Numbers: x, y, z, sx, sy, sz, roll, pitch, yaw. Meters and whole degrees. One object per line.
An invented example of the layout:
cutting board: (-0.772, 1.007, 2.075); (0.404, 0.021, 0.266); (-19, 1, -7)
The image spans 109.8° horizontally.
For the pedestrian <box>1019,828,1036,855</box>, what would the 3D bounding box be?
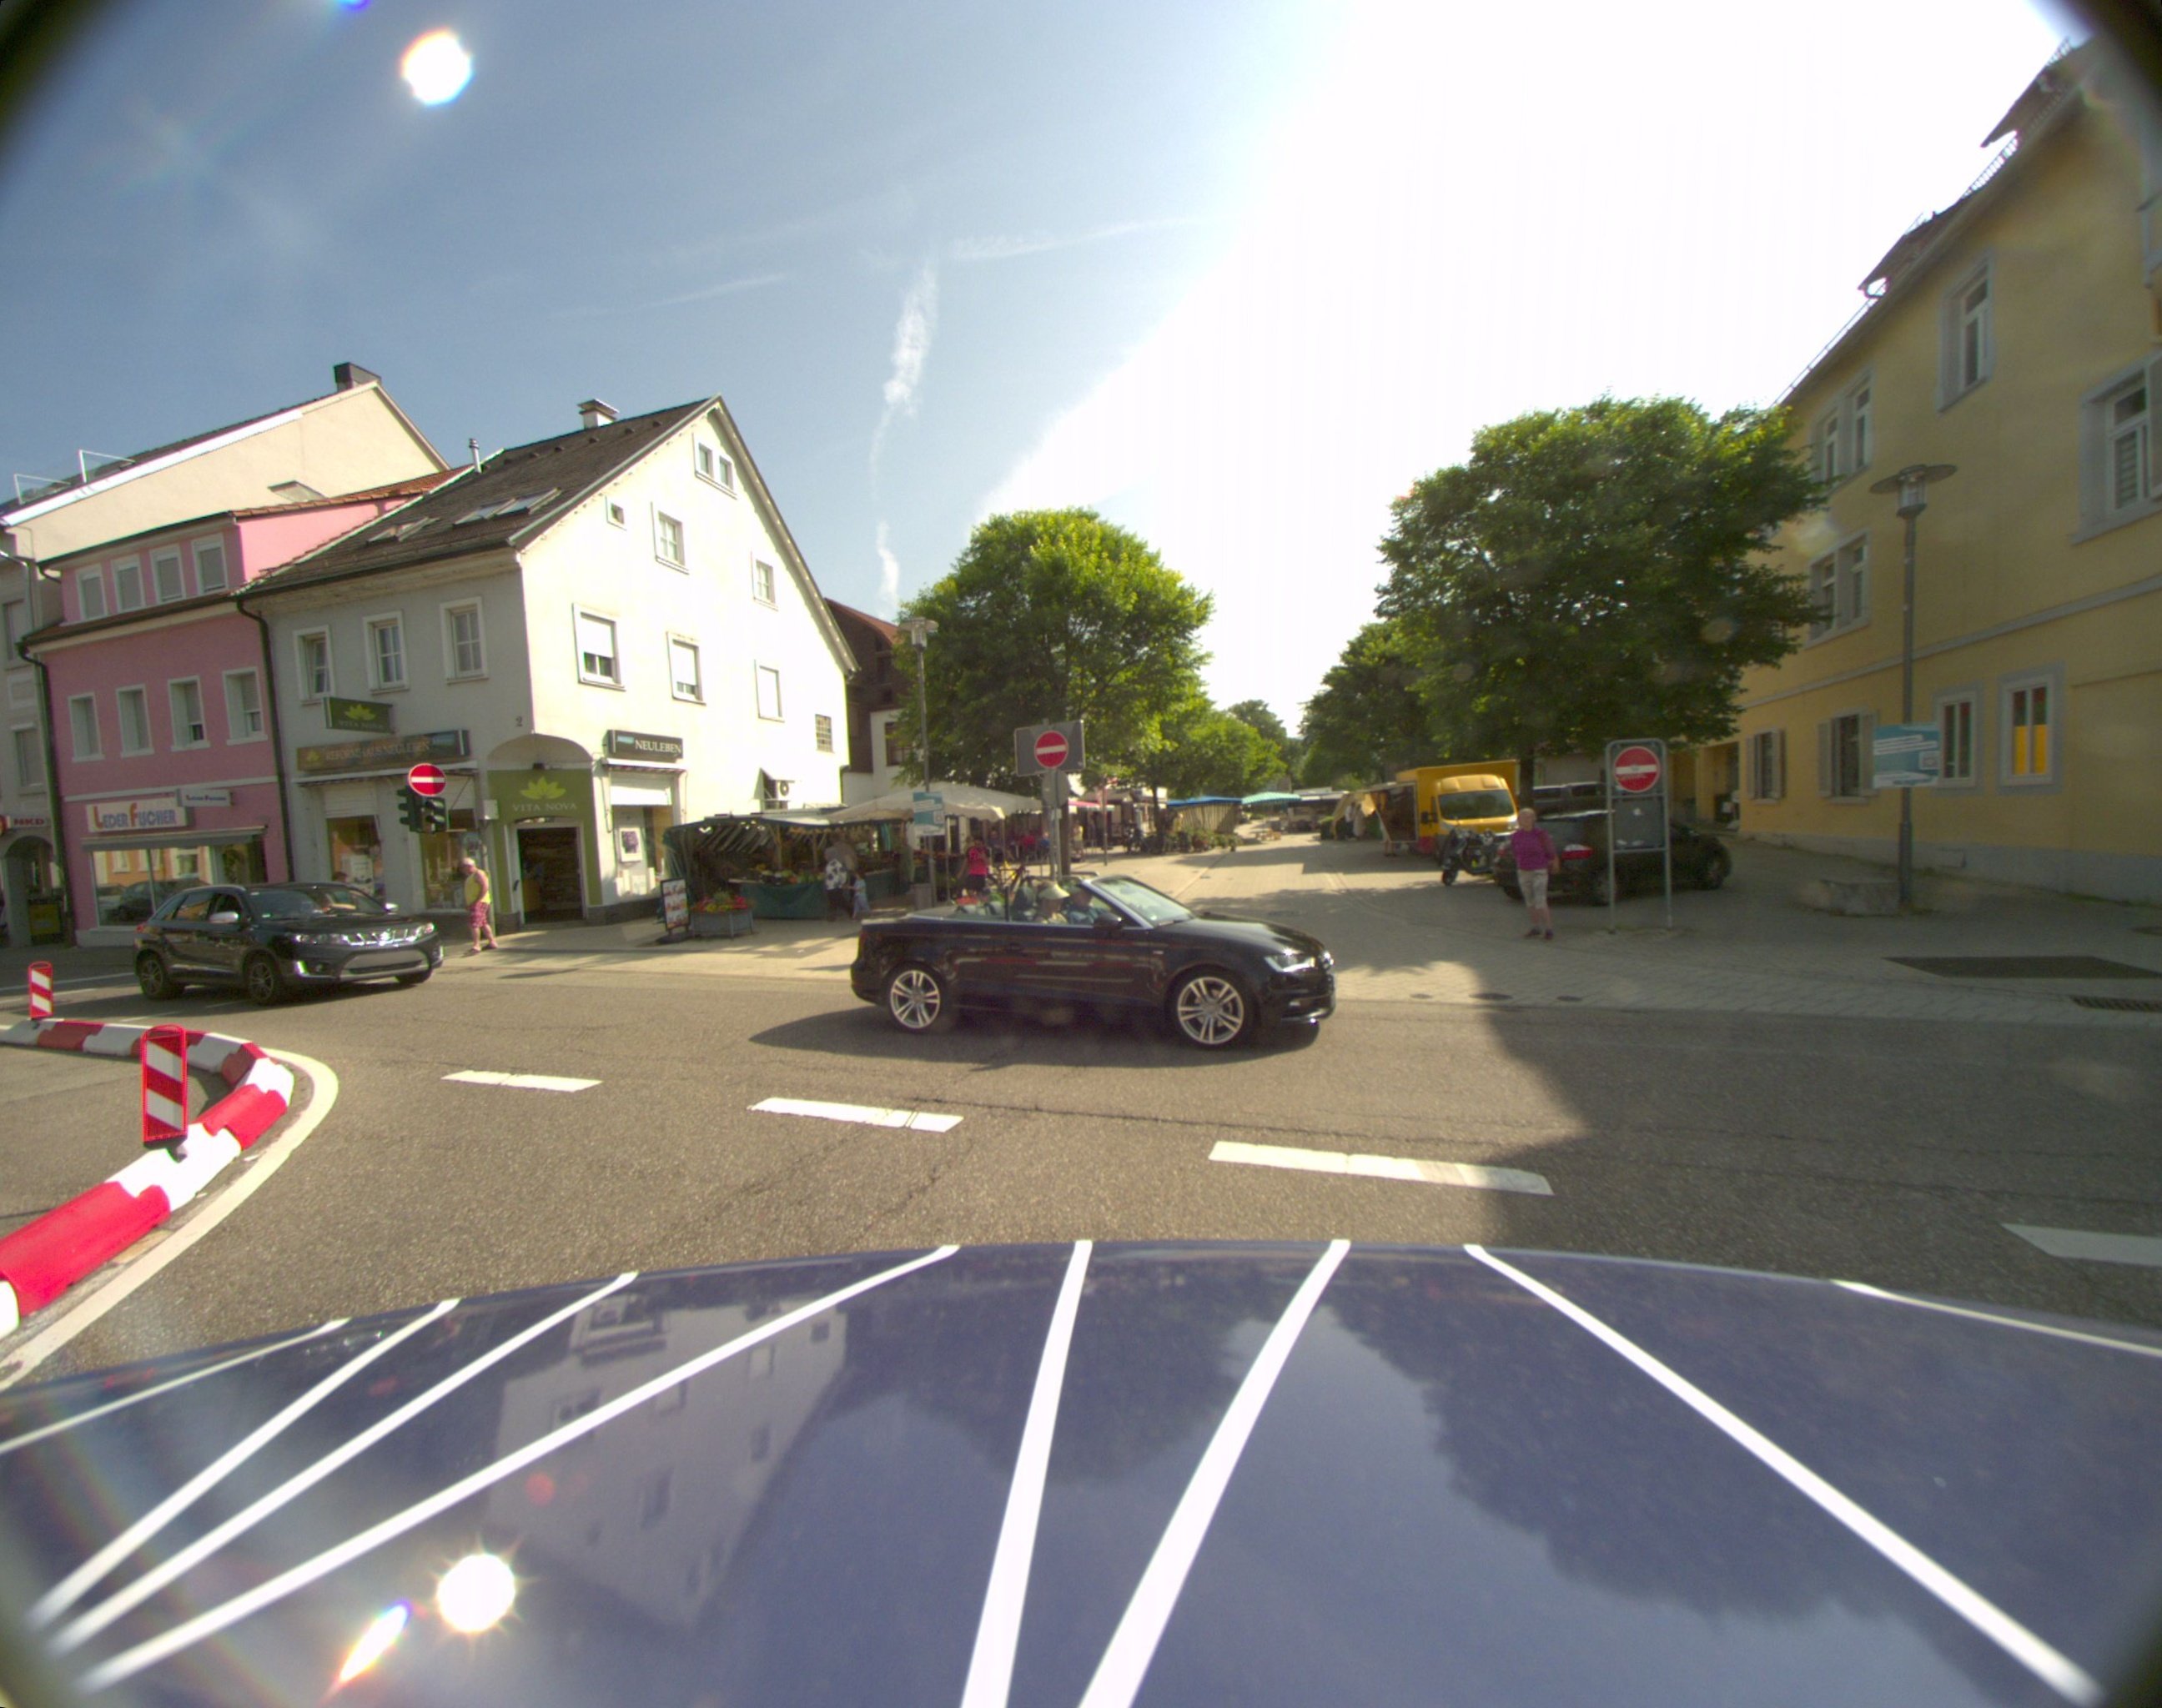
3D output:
pedestrian: (-2.424, -0.562, 34.514); (0.571, 1.195, 0.651); (1, 5, 20)

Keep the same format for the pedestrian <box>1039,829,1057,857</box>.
pedestrian: (-1.444, -0.472, 33.068); (0.571, 1.195, 0.651); (1, 5, 20)

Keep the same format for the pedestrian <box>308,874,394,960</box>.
pedestrian: (-14.856, 1.263, 15.481); (0.857, 1.624, 0.789); (-2, 6, 20)

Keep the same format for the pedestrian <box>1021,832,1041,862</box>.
pedestrian: (-2.076, -0.302, 31.433); (0.571, 1.195, 0.651); (1, 5, 20)

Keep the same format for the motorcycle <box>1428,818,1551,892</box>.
motorcycle: (8.510, 0.022, 15.930); (2.084, 1.353, 0.889); (-4, 2, 17)

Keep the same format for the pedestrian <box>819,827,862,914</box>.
pedestrian: (-5.617, 0.379, 17.782); (0.707, 1.974, 0.652); (-2, 3, -2)

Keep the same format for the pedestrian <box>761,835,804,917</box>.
pedestrian: (-7.333, 0.528, 18.675); (0.507, 1.960, 0.708); (0, 4, 45)

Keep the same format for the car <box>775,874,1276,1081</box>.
car: (-0.515, 0.974, 6.983); (4.190, 1.349, 1.759); (-2, 2, 24)

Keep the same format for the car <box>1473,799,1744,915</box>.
car: (9.118, -0.027, 13.188); (3.961, 1.535, 1.919); (-5, 4, -20)

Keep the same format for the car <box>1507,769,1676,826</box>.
car: (19.591, -2.134, 29.424); (5.063, 1.881, 2.001); (-2, 3, 14)

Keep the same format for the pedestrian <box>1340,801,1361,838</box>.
pedestrian: (12.564, -1.606, 35.483); (0.681, 1.672, 0.583); (-4, 2, 3)

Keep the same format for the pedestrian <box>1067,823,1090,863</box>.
pedestrian: (-0.093, -0.430, 30.097); (0.697, 1.545, 0.573); (1, 5, 25)

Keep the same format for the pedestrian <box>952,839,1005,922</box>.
pedestrian: (-2.087, 0.526, 15.530); (0.882, 1.650, 0.572); (0, 5, 12)

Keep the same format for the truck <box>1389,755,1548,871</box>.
truck: (11.452, -1.339, 23.397); (3.004, 2.743, 8.867); (-3, 4, 19)

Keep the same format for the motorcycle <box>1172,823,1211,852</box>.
motorcycle: (4.959, -0.761, 34.127); (0.644, 1.189, 2.000); (-3, 4, -30)

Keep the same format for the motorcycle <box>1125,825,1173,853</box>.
motorcycle: (2.967, -0.669, 33.273); (1.999, 1.189, 0.644); (2, 5, 32)

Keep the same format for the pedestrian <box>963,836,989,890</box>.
pedestrian: (-3.048, 0.252, 22.040); (0.622, 1.510, 0.633); (-3, 3, -4)

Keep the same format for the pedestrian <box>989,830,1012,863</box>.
pedestrian: (-3.336, -0.336, 31.539); (0.625, 1.324, 0.700); (1, 5, 22)

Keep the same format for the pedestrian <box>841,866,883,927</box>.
pedestrian: (-4.402, 0.844, 15.263); (0.623, 1.154, 0.515); (-4, 3, -31)

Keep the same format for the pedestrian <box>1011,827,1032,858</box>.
pedestrian: (-2.618, -0.528, 33.393); (0.625, 1.324, 0.700); (1, 5, 22)

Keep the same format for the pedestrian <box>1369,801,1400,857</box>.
pedestrian: (9.922, -0.823, 24.889); (0.681, 1.777, 0.726); (-5, 3, 6)

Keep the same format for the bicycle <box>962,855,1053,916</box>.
bicycle: (-1.608, 0.686, 16.750); (1.860, 1.228, 0.617); (-3, 3, 6)

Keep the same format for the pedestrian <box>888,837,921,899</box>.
pedestrian: (-4.765, 0.373, 20.566); (0.521, 1.618, 0.708); (-2, 3, 14)

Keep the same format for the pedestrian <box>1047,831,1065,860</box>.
pedestrian: (-1.057, -0.372, 32.199); (0.571, 1.195, 0.651); (1, 5, 20)

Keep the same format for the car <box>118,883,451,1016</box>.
car: (-11.231, 1.282, 10.751); (3.962, 1.552, 1.686); (-2, 0, 19)

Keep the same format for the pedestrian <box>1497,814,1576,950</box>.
pedestrian: (6.056, 0.349, 10.104); (0.618, 1.705, 0.678); (-6, 4, -35)

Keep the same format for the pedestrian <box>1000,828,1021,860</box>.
pedestrian: (-3.007, -0.433, 32.400); (0.625, 1.324, 0.700); (1, 5, 22)

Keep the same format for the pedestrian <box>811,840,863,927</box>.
pedestrian: (-5.020, 0.581, 15.622); (0.789, 1.714, 0.705); (-4, 3, -30)

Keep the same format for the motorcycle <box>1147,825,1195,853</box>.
motorcycle: (3.976, -0.690, 33.543); (1.999, 1.189, 0.644); (2, 5, 32)

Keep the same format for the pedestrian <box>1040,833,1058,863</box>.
pedestrian: (-1.289, -0.247, 30.563); (0.571, 1.195, 0.651); (0, 5, 8)

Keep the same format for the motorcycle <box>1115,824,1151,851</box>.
motorcycle: (2.375, -0.748, 34.596); (1.529, 1.189, 0.644); (1, 4, 18)

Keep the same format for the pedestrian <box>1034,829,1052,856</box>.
pedestrian: (-1.702, -0.532, 34.349); (0.571, 1.195, 0.651); (1, 5, 20)

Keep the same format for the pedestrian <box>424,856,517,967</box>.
pedestrian: (-11.179, 1.013, 13.921); (1.022, 1.807, 0.904); (-11, 10, -42)

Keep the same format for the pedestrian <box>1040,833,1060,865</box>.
pedestrian: (-1.192, -0.208, 29.637); (0.698, 1.195, 0.572); (0, 5, 5)

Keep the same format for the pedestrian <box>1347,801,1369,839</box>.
pedestrian: (12.683, -1.558, 34.805); (0.681, 1.673, 0.582); (-4, 4, 2)
